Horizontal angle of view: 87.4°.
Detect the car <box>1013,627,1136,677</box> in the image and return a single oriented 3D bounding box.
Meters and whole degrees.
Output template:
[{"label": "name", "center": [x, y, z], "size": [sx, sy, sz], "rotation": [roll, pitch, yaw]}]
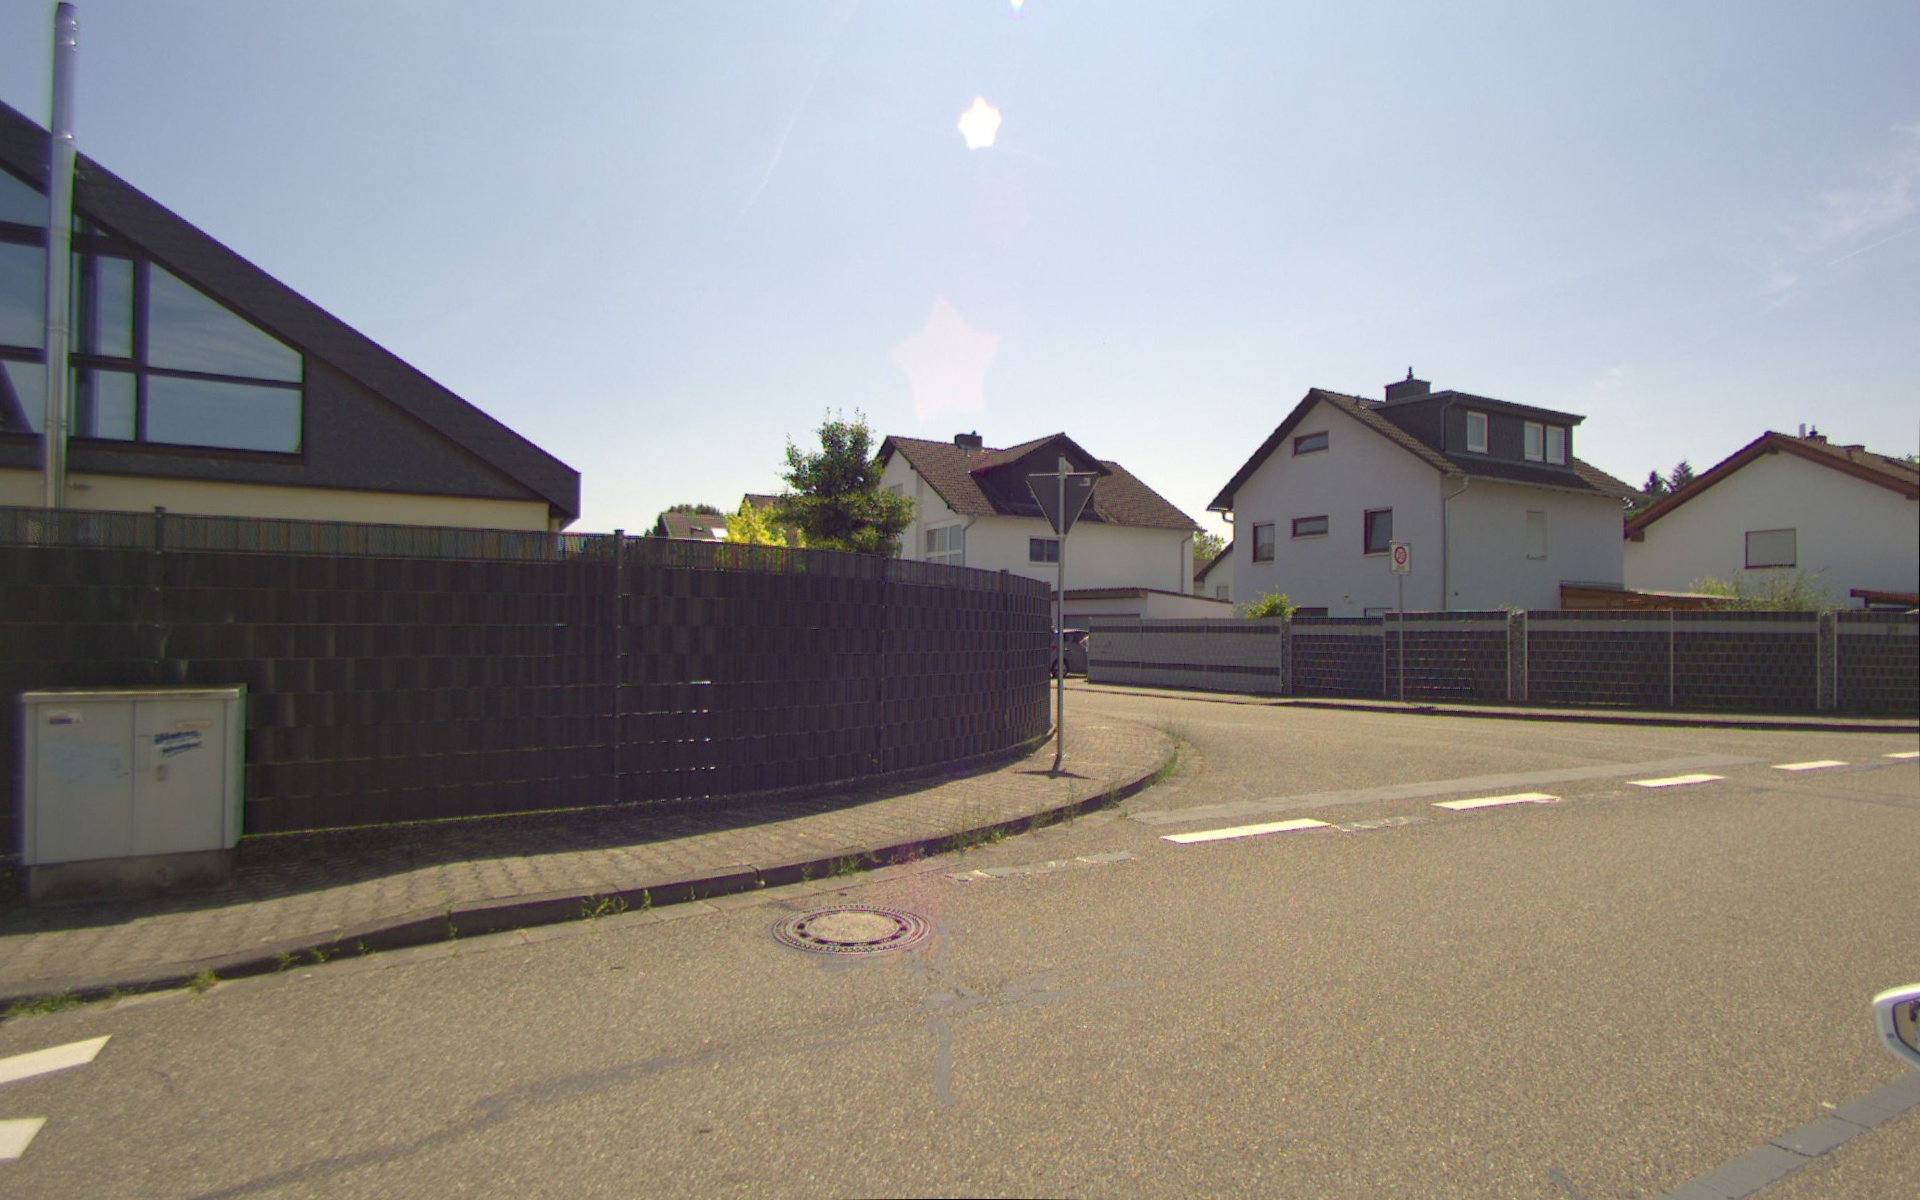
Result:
[{"label": "car", "center": [3.978, 1.794, 34.820], "size": [3.952, 1.617, 1.759], "rotation": [2, -1, -30]}]
